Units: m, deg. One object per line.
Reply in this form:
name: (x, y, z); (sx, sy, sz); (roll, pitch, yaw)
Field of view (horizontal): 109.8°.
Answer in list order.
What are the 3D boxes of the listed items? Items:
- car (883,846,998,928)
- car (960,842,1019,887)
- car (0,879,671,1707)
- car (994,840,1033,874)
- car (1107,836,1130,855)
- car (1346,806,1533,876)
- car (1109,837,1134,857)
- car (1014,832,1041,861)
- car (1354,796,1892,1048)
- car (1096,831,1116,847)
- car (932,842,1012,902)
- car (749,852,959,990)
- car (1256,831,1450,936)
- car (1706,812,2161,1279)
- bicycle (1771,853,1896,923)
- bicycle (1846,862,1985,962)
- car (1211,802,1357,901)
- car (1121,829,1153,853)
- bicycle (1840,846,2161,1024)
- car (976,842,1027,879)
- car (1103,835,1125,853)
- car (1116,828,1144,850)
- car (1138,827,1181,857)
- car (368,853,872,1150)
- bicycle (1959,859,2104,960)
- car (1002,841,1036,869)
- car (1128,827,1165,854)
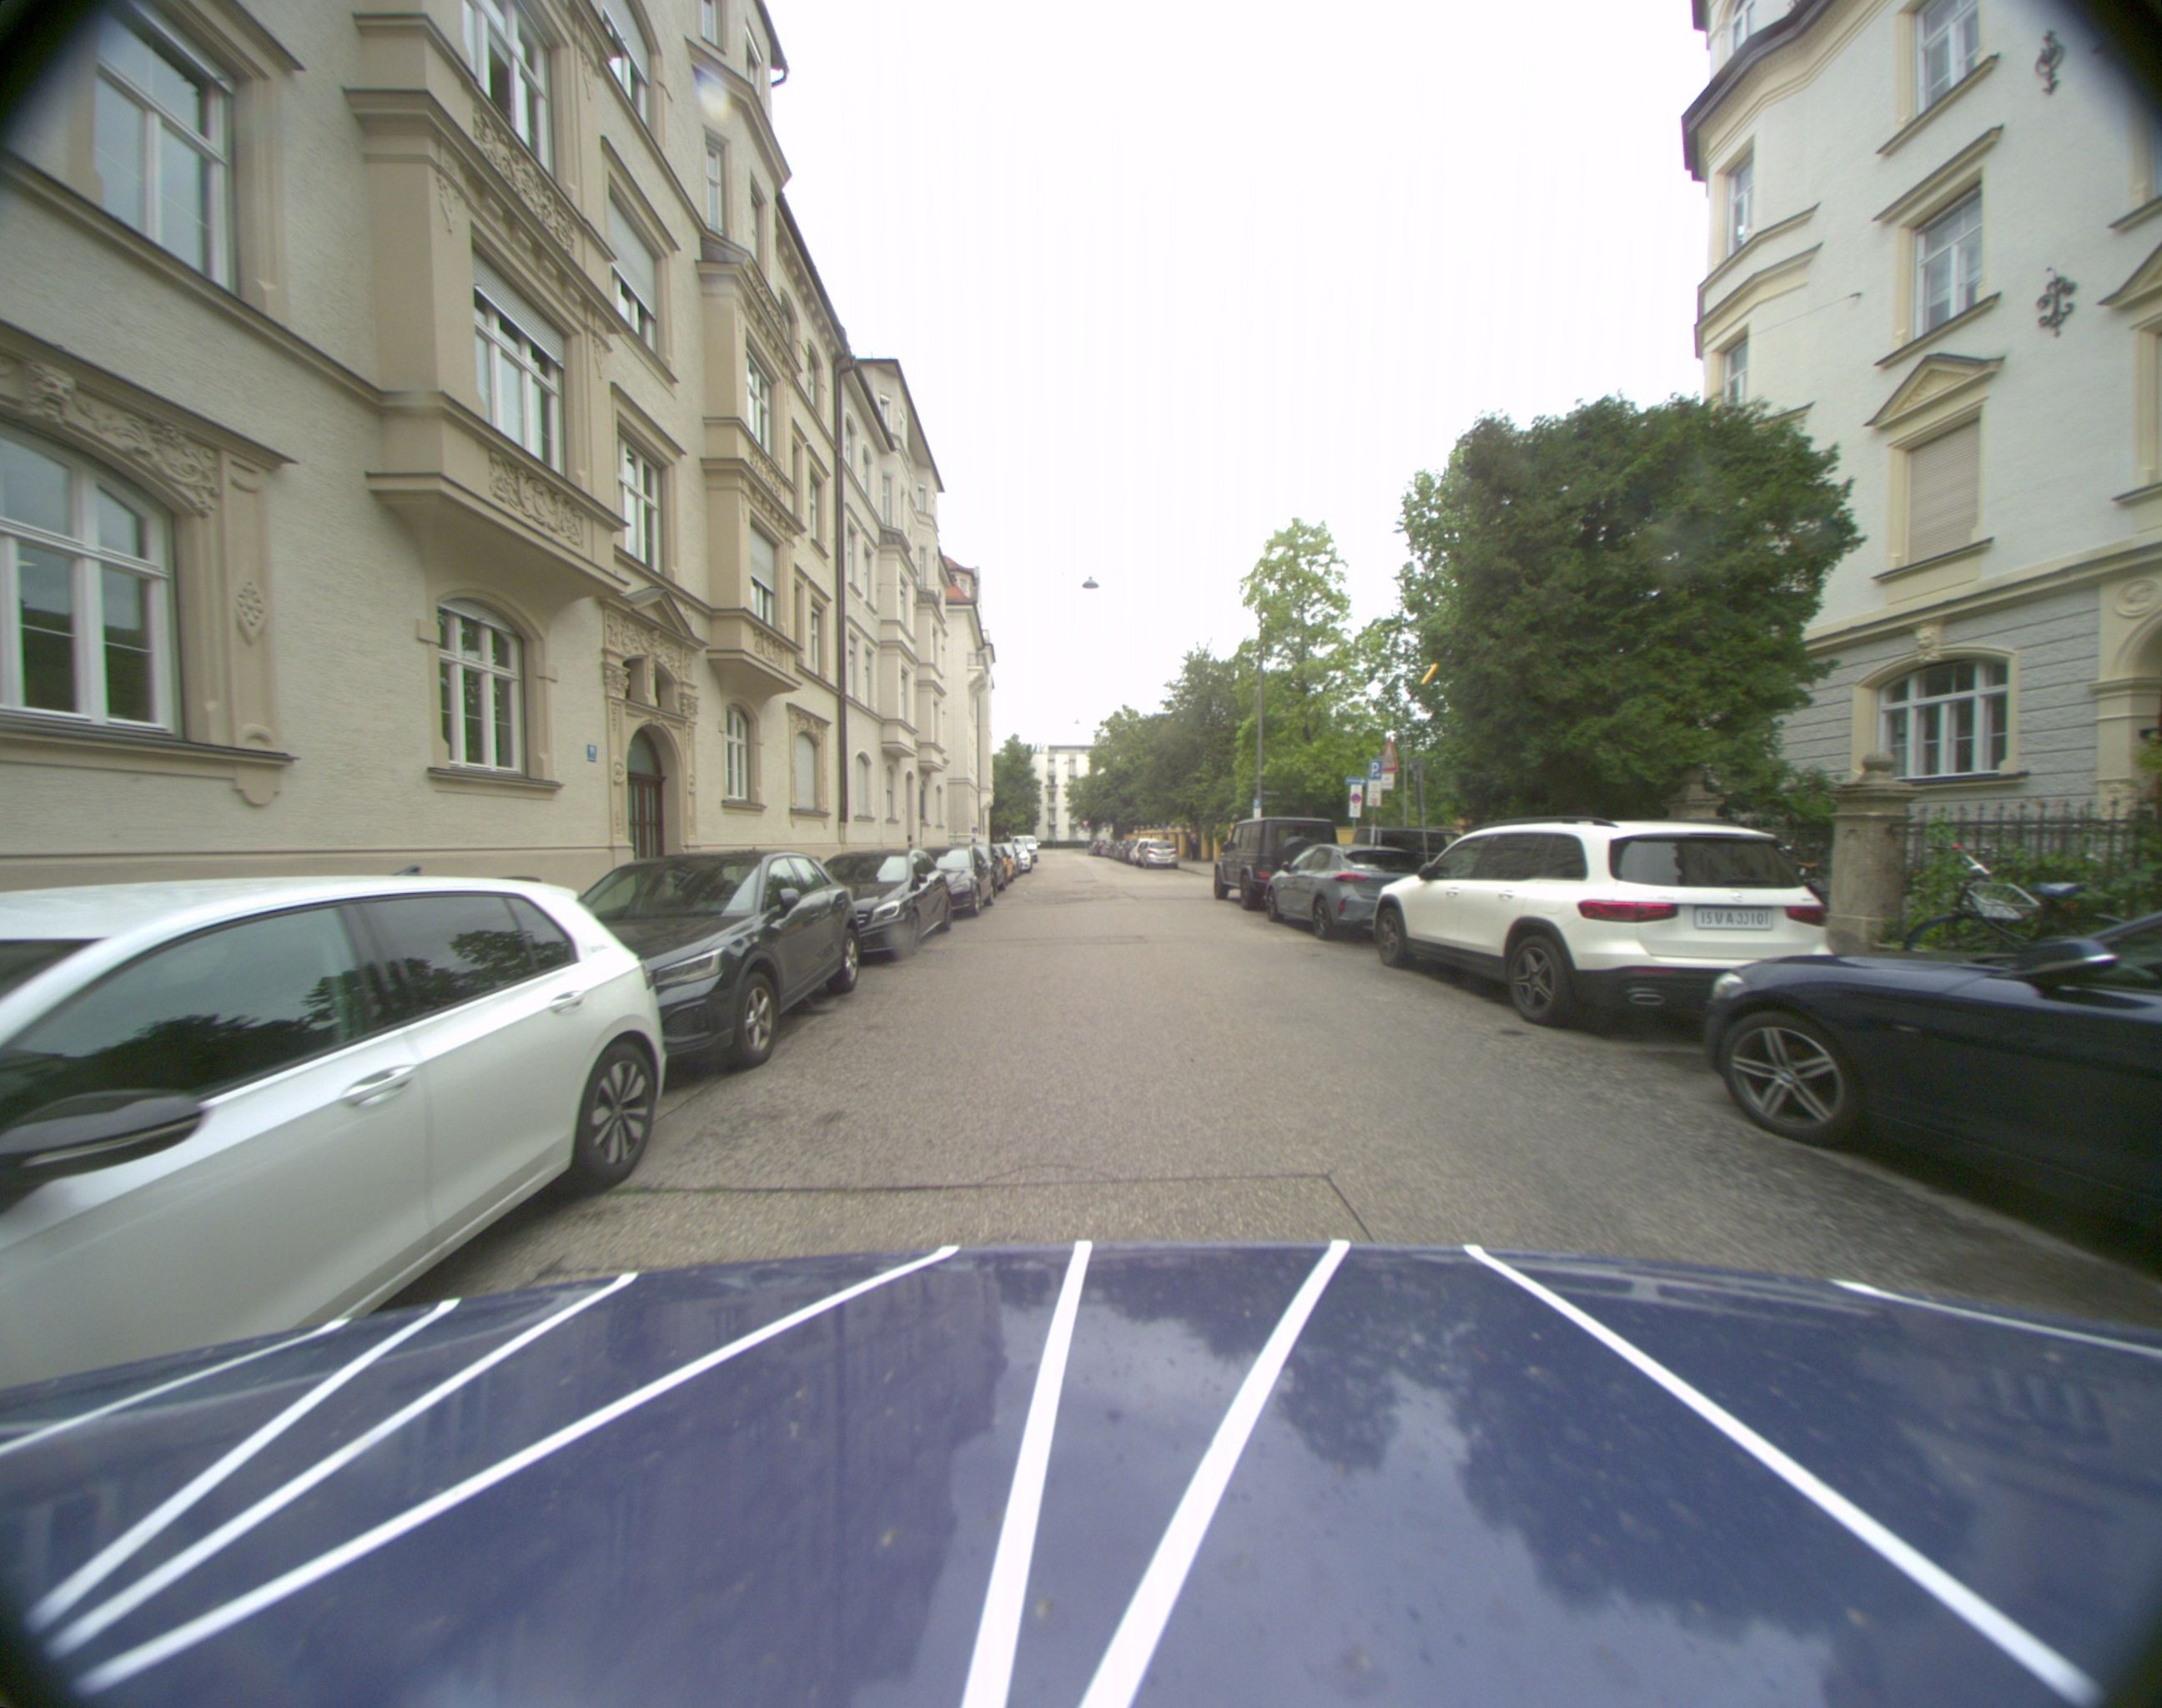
car: (-2.865, 0.610, 16.343); (1.646, 1.410, 3.999); (-2, 2, 0)
car: (-3.244, 0.332, 27.510); (1.661, 1.432, 3.596); (-1, 2, 0)
car: (-2.814, 0.929, 1.714); (1.667, 1.499, 4.062); (-2, 1, -3)
car: (-3.263, 0.113, 37.456); (1.715, 1.462, 4.083); (-3, 2, -3)
car: (3.166, -0.785, 65.267); (1.654, 1.552, 3.928); (0, 1, -2)
car: (10.358, -0.405, 22.122); (4.520, 1.847, 2.053); (-1, 2, -8)
car: (3.228, -0.600, 61.042); (1.654, 1.552, 3.928); (0, 1, -2)
car: (-3.871, -0.565, 55.626); (1.794, 1.927, 4.083); (-3, 2, -3)
car: (4.338, 0.392, 7.197); (1.811, 1.639, 4.483); (0, 1, -1)
car: (2.406, -1.483, 74.723); (1.654, 1.552, 3.928); (0, 2, -2)
car: (-3.093, 0.448, 22.290); (1.747, 1.507, 3.956); (-2, 2, 0)
car: (-3.038, 0.801, 11.122); (1.746, 1.390, 4.020); (-4, 2, 0)
car: (4.212, 0.358, 12.483); (1.647, 1.422, 3.917); (1, 2, -2)
car: (4.283, 0.623, 2.044); (1.773, 1.412, 3.996); (-2, 3, -3)
bicycle: (10.443, 0.468, 10.560); (1.476, 0.956, 0.338); (0, 1, -5)
bicycle: (9.613, 0.658, 8.773); (1.141, 1.097, 0.393); (-2, 2, 2)
car: (4.304, -0.122, 16.997); (1.917, 1.876, 4.814); (-1, 2, -1)
car: (3.673, -0.885, 50.350); (1.654, 1.552, 3.928); (0, 1, -2)
bicycle: (8.189, 0.580, 6.569); (0.698, 1.253, 2.529); (0, 1, 0)
car: (-3.361, 0.244, 32.843); (1.715, 1.382, 3.999); (-3, 2, 0)
car: (2.982, -0.934, 69.549); (1.654, 1.552, 3.928); (0, 1, -2)
car: (3.560, -1.112, 55.506); (1.654, 1.552, 3.928); (0, 1, -2)
car: (4.091, -0.658, 40.109); (1.705, 1.484, 3.954); (0, 1, -2)
car: (-3.134, 0.824, 6.326); (1.797, 1.490, 4.080); (-4, 1, -4)
bicycle: (10.981, 0.633, 8.792); (1.141, 1.097, 0.393); (-2, 2, 2)
car: (-3.429, 0.041, 42.370); (1.715, 1.382, 4.083); (-3, 2, -3)
car: (3.874, -0.800, 45.251); (1.705, 1.552, 3.928); (0, 1, -2)
